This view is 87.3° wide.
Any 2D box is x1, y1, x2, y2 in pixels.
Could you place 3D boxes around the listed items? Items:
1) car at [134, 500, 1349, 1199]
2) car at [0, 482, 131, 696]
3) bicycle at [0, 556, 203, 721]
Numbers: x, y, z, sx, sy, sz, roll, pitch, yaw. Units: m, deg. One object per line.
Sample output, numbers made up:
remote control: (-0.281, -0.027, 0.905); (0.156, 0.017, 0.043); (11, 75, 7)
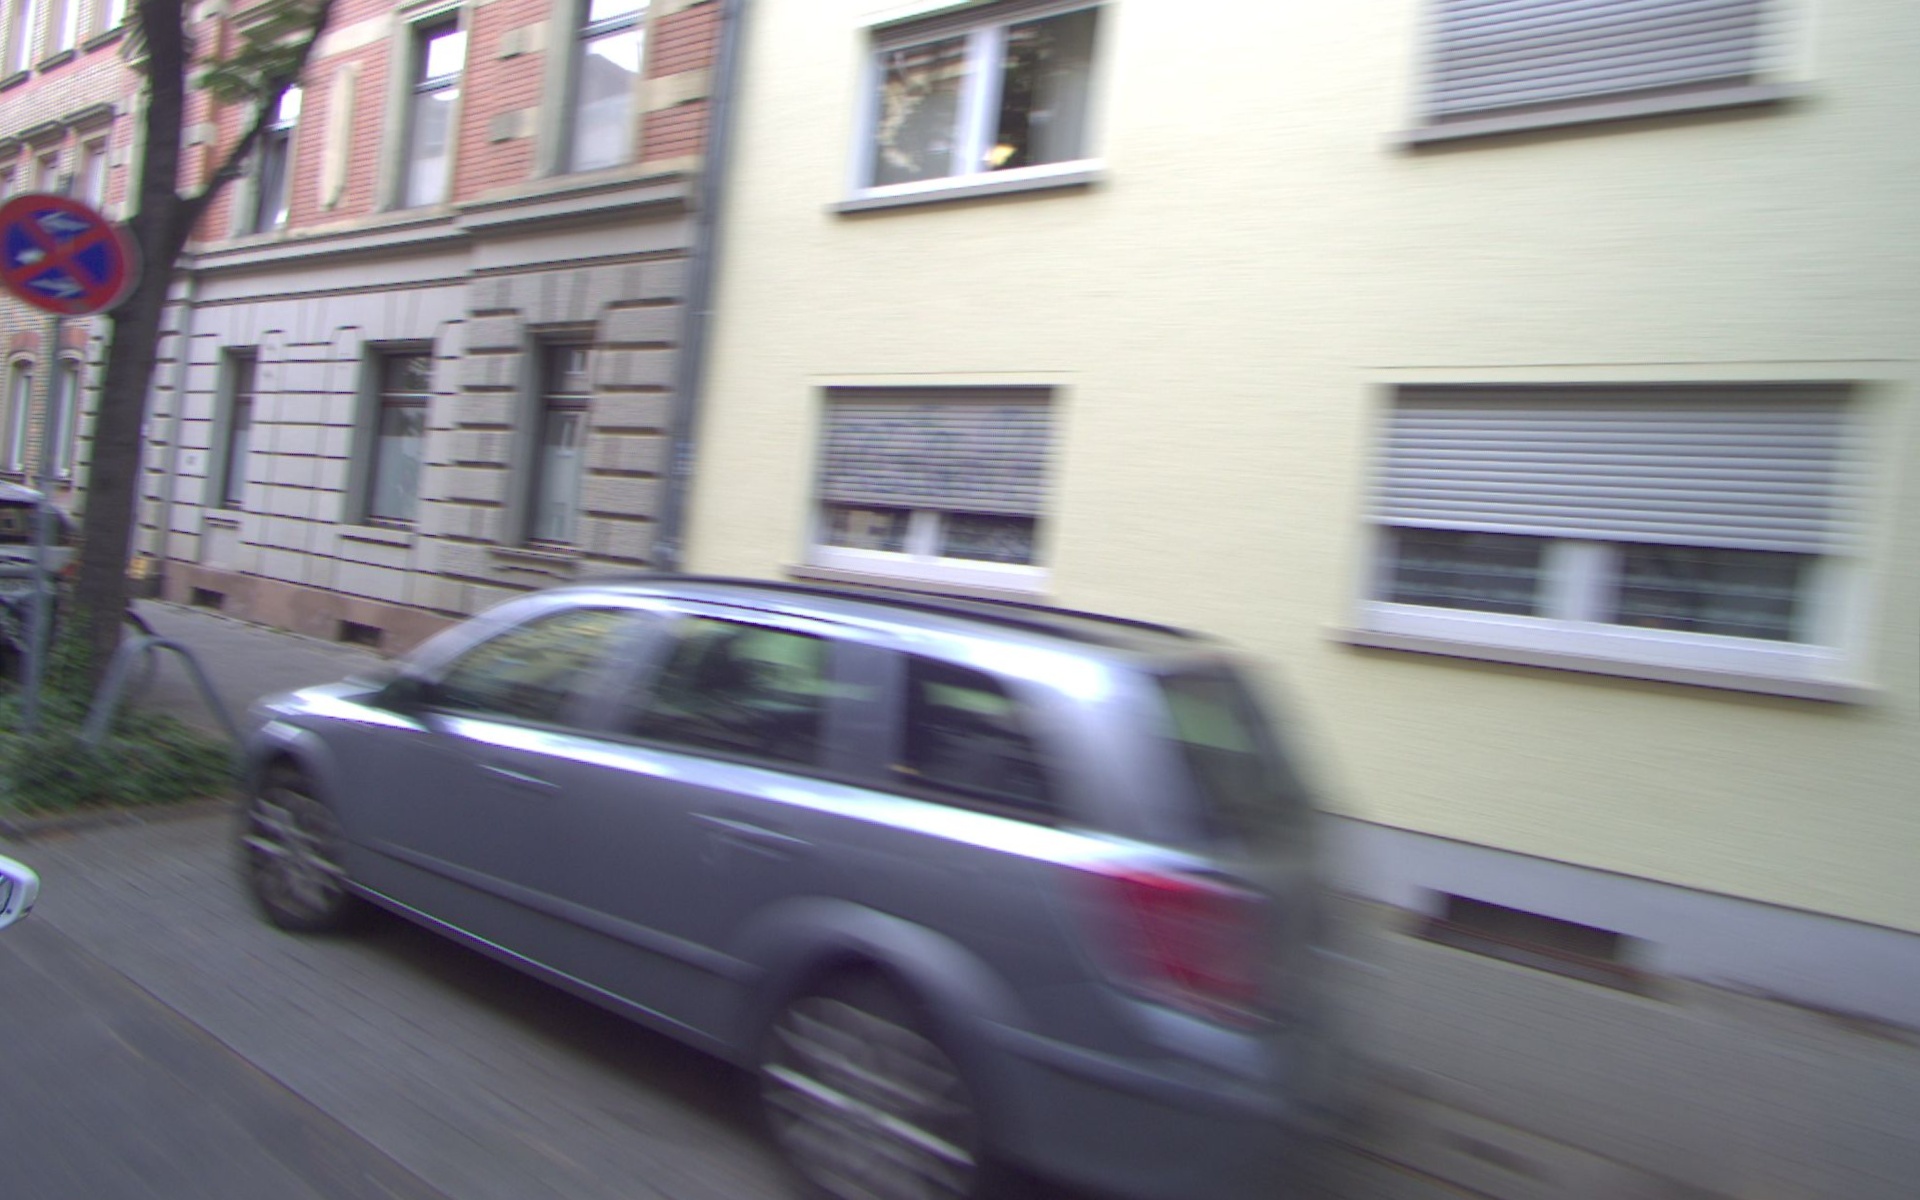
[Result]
car: (-1.006, 0.613, 3.744); (4.235, 1.481, 1.761); (7, 0, 30)
car: (-8.642, -0.300, 7.958); (4.293, 1.495, 1.719); (7, 1, 29)
bicycle: (-6.173, 0.233, 6.613); (0.626, 0.993, 1.923); (7, -1, 10)
